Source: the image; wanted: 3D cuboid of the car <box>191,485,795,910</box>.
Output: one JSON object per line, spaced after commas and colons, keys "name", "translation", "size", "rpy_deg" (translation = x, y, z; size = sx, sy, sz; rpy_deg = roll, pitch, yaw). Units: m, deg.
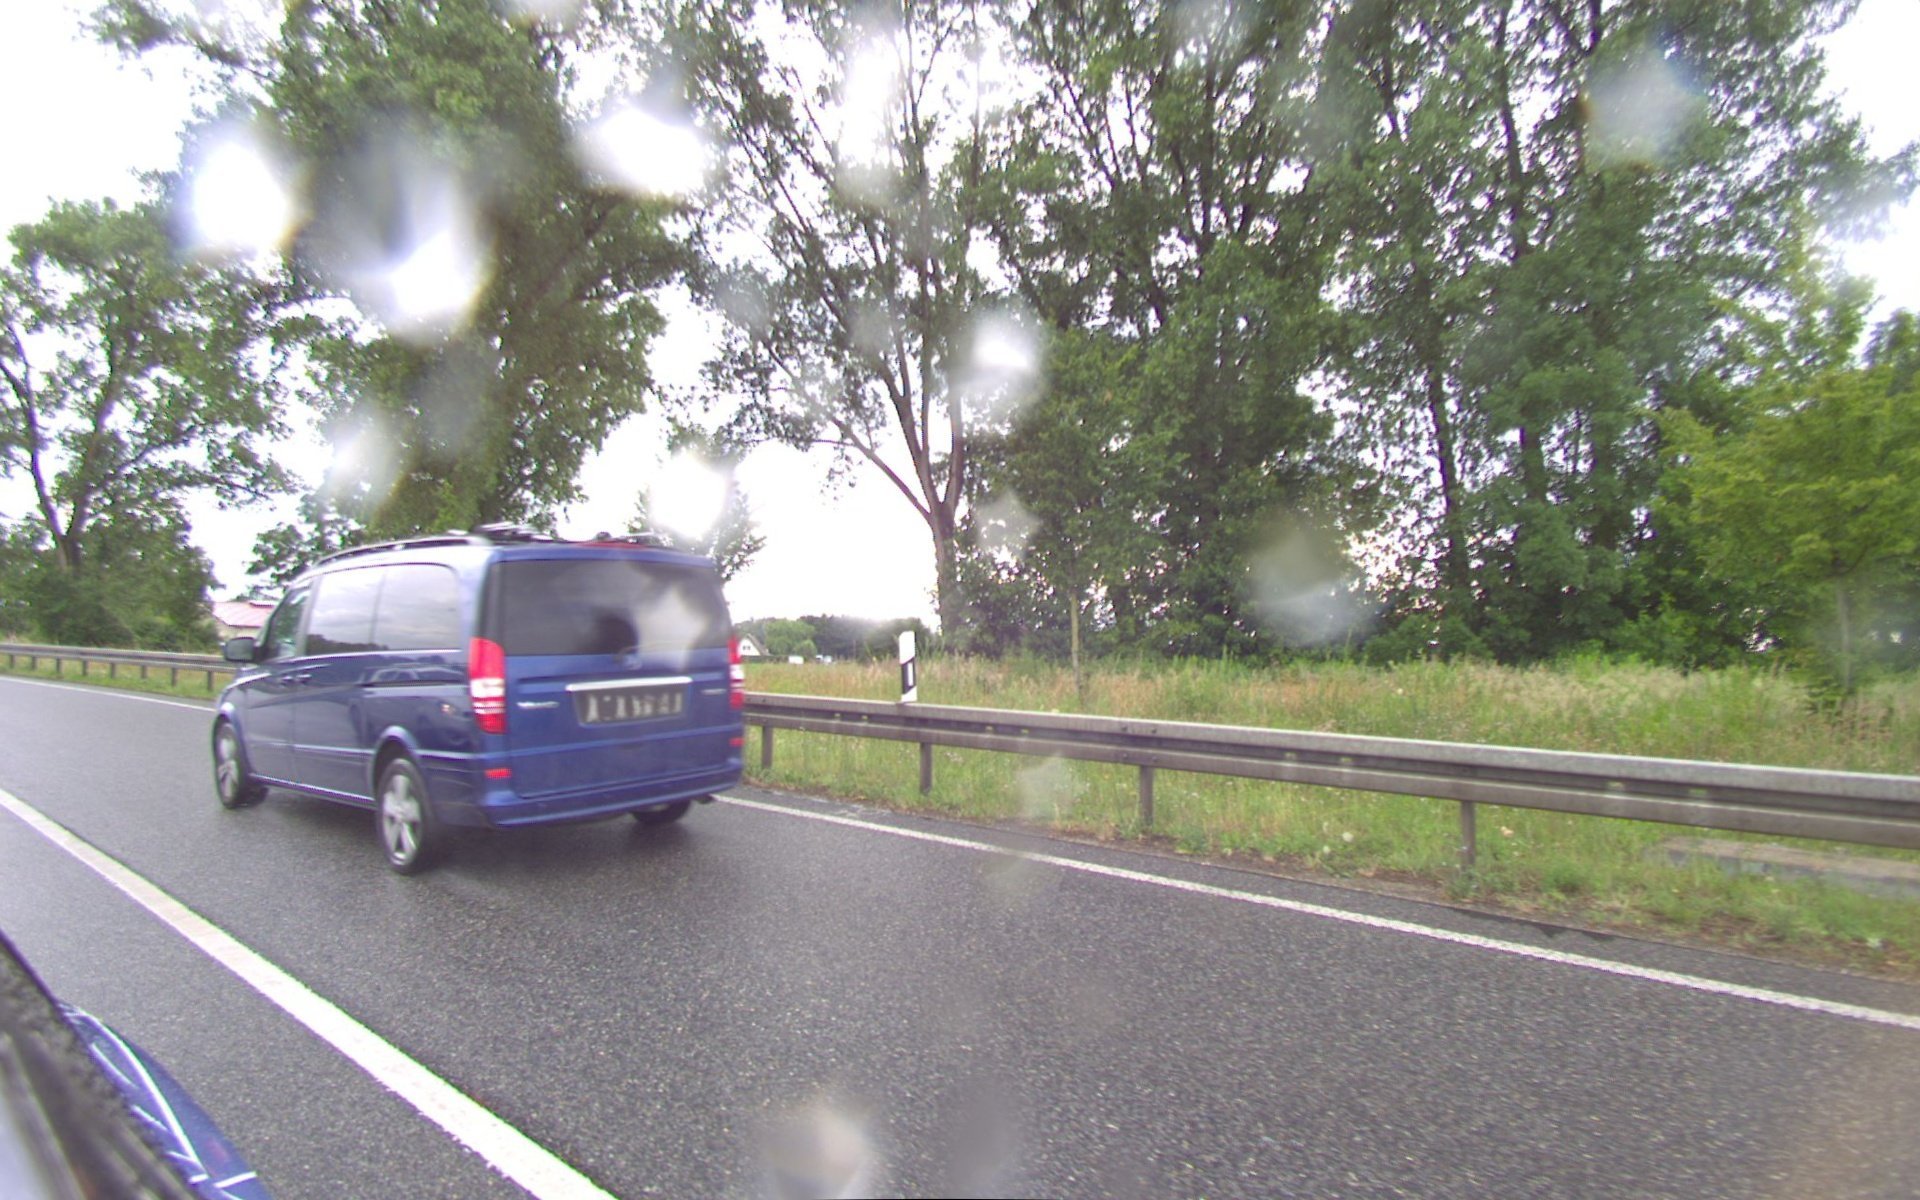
{"name": "car", "translation": [-3.529, 0.504, 7.137], "size": [4.855, 2.029, 1.943], "rpy_deg": [-1, -1, 39]}
